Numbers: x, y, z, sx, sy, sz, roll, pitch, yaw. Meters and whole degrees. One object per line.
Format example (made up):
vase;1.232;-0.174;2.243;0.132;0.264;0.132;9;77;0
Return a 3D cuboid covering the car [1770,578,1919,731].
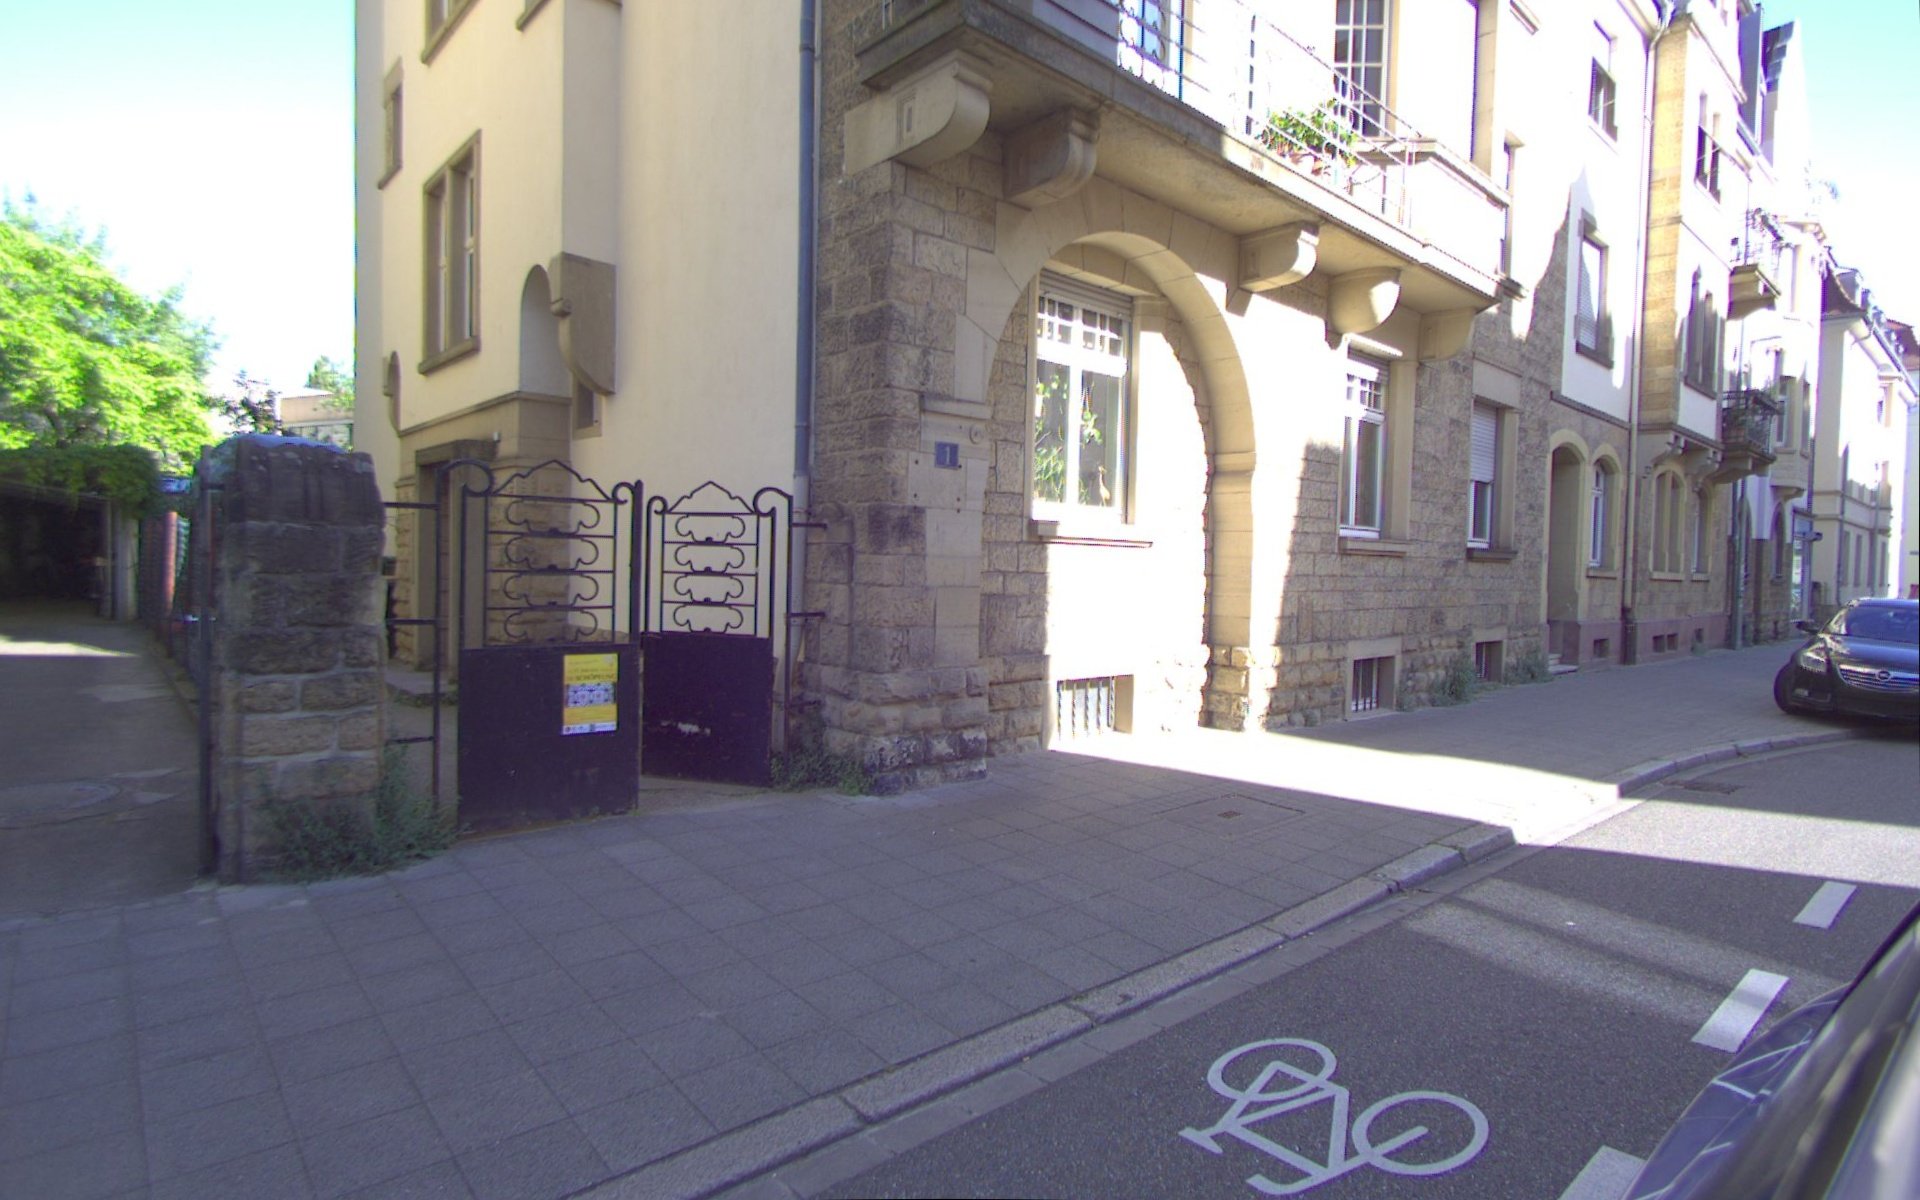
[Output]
car;11.481;0.571;12.165;4.043;1.526;2.023;-1;5;-42

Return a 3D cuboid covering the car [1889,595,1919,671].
car;18.789;0.620;18.967;3.667;1.295;1.659;-1;4;-42

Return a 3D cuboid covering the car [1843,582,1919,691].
car;15.526;0.567;15.863;4.247;1.527;2.004;0;3;-42

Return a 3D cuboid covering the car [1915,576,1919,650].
car;26.229;0.337;26.045;4.247;1.860;2.004;-1;4;-42

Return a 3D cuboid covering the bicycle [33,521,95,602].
bicycle;-18.307;-0.814;20.722;0.903;1.530;2.672;0;4;-41

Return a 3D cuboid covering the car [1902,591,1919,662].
car;22.166;0.583;22.188;4.247;1.440;1.823;-1;4;-42
